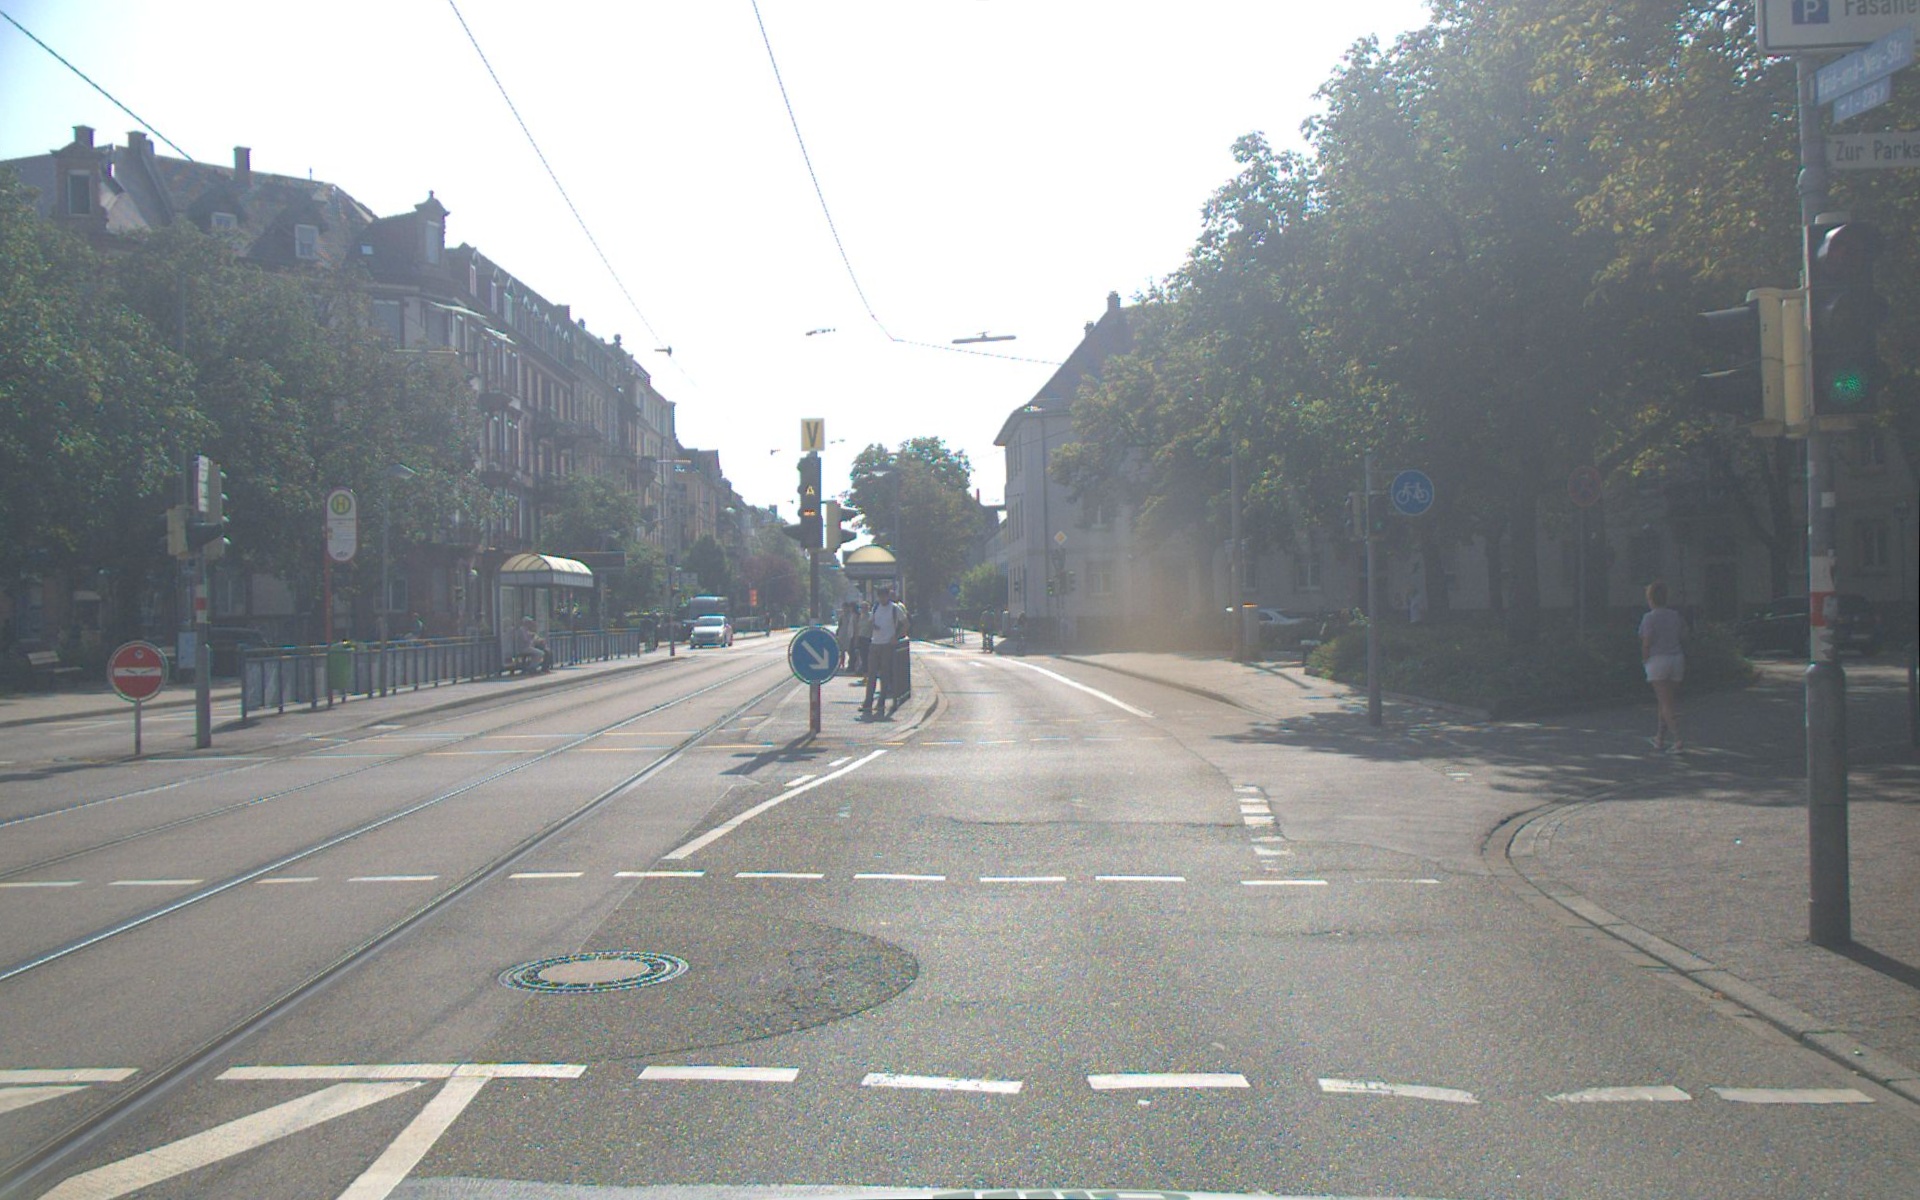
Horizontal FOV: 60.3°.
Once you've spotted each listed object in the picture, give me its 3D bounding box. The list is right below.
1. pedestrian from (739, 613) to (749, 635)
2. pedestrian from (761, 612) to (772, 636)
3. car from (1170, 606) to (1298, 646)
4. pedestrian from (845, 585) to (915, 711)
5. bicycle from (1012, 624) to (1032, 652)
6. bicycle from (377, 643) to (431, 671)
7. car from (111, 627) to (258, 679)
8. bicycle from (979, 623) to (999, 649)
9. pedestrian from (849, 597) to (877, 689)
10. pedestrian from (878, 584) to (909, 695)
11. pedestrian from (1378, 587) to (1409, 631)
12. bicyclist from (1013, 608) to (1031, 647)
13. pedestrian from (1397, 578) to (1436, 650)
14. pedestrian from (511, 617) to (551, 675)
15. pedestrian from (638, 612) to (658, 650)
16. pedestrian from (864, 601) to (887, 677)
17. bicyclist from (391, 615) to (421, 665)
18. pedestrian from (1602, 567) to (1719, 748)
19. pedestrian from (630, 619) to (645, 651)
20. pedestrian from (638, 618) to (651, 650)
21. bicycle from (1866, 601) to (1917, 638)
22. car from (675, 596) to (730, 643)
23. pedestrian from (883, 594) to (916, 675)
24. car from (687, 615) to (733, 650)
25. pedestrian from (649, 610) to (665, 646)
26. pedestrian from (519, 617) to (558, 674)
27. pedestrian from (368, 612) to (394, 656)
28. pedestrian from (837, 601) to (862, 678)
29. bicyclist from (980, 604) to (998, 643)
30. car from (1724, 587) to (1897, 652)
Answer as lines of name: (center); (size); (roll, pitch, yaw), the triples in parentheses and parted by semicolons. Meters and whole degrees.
pedestrian: (-16.872, 1.877, 129.130); (0.736, 1.761, 0.769); (-1, -1, -11)
pedestrian: (-14.843, 1.842, 126.948); (0.736, 1.761, 0.769); (-1, -1, -11)
car: (10.095, 0.964, 61.066); (4.251, 1.343, 1.992); (-2, -1, 37)
pedestrian: (-1.160, 0.681, 24.080); (0.687, 1.755, 0.746); (2, 2, 31)
bicycle: (2.318, 1.399, 61.706); (0.547, 0.995, 1.855); (-1, 0, -3)
bicycle: (-21.459, 2.184, 63.865); (1.920, 0.995, 0.490); (-1, -1, -35)
car: (-26.627, 1.802, 56.828); (4.289, 1.596, 1.974); (-1, -1, -36)
bicycle: (1.166, 1.439, 66.420); (0.616, 0.995, 1.769); (-1, 0, -4)
pedestrian: (-1.934, 0.853, 33.023); (0.494, 1.790, 0.534); (1, 2, -2)
pedestrian: (-1.139, 0.673, 28.347); (0.494, 1.866, 0.534); (1, 2, -2)
pedestrian: (17.384, 0.361, 66.320); (0.770, 1.771, 0.879); (-1, -1, -45)
bicyclist: (2.302, 1.011, 61.723); (0.547, 1.441, 0.871); (-1, 0, -4)
pedestrian: (11.510, 0.358, 41.728); (0.872, 1.771, 0.776); (-2, -1, 18)
pedestrian: (-10.479, 1.115, 40.390); (0.812, 1.382, 0.775); (-1, -1, -7)
pedestrian: (-14.559, 1.455, 77.209); (0.734, 1.761, 0.771); (-1, -1, 0)
pedestrian: (-2.038, 0.933, 39.836); (0.494, 1.790, 0.534); (1, 2, -2)
bicyclist: (-21.403, 1.553, 63.921); (0.978, 1.890, 0.487); (-1, -1, -35)
pedestrian: (7.015, 0.564, 16.594); (0.736, 1.761, 0.769); (-1, -1, -11)
pedestrian: (-17.978, 1.942, 92.229); (0.736, 1.761, 0.769); (-1, -1, -11)
pedestrian: (-18.123, 1.953, 95.042); (0.736, 1.761, 0.769); (-1, -1, -11)
bicycle: (25.865, 0.528, 45.958); (0.416, 0.995, 1.554); (-1, 0, -5)
car: (-15.453, 1.160, 99.652); (2.298, 2.708, 5.106); (-1, -1, 2)
pedestrian: (-1.364, 0.773, 37.241); (0.694, 1.790, 0.534); (1, 2, -2)
car: (-12.619, 1.623, 83.634); (1.765, 1.682, 3.641); (-1, -1, -1)
pedestrian: (-14.875, 1.361, 81.277); (0.736, 1.761, 0.769); (-1, -1, -11)
pedestrian: (-10.535, 1.126, 41.365); (0.812, 1.382, 0.775); (-1, -1, -7)
pedestrian: (-23.862, 1.407, 68.196); (0.764, 1.761, 0.741); (-1, -1, -40)
pedestrian: (-2.619, 0.924, 39.236); (0.521, 1.790, 0.545); (1, 2, -1)
bicyclist: (1.159, 0.932, 66.423); (0.616, 1.534, 0.678); (-1, -1, -4)
car: (20.322, 0.463, 39.720); (1.818, 1.443, 3.996); (-1, 0, -5)
